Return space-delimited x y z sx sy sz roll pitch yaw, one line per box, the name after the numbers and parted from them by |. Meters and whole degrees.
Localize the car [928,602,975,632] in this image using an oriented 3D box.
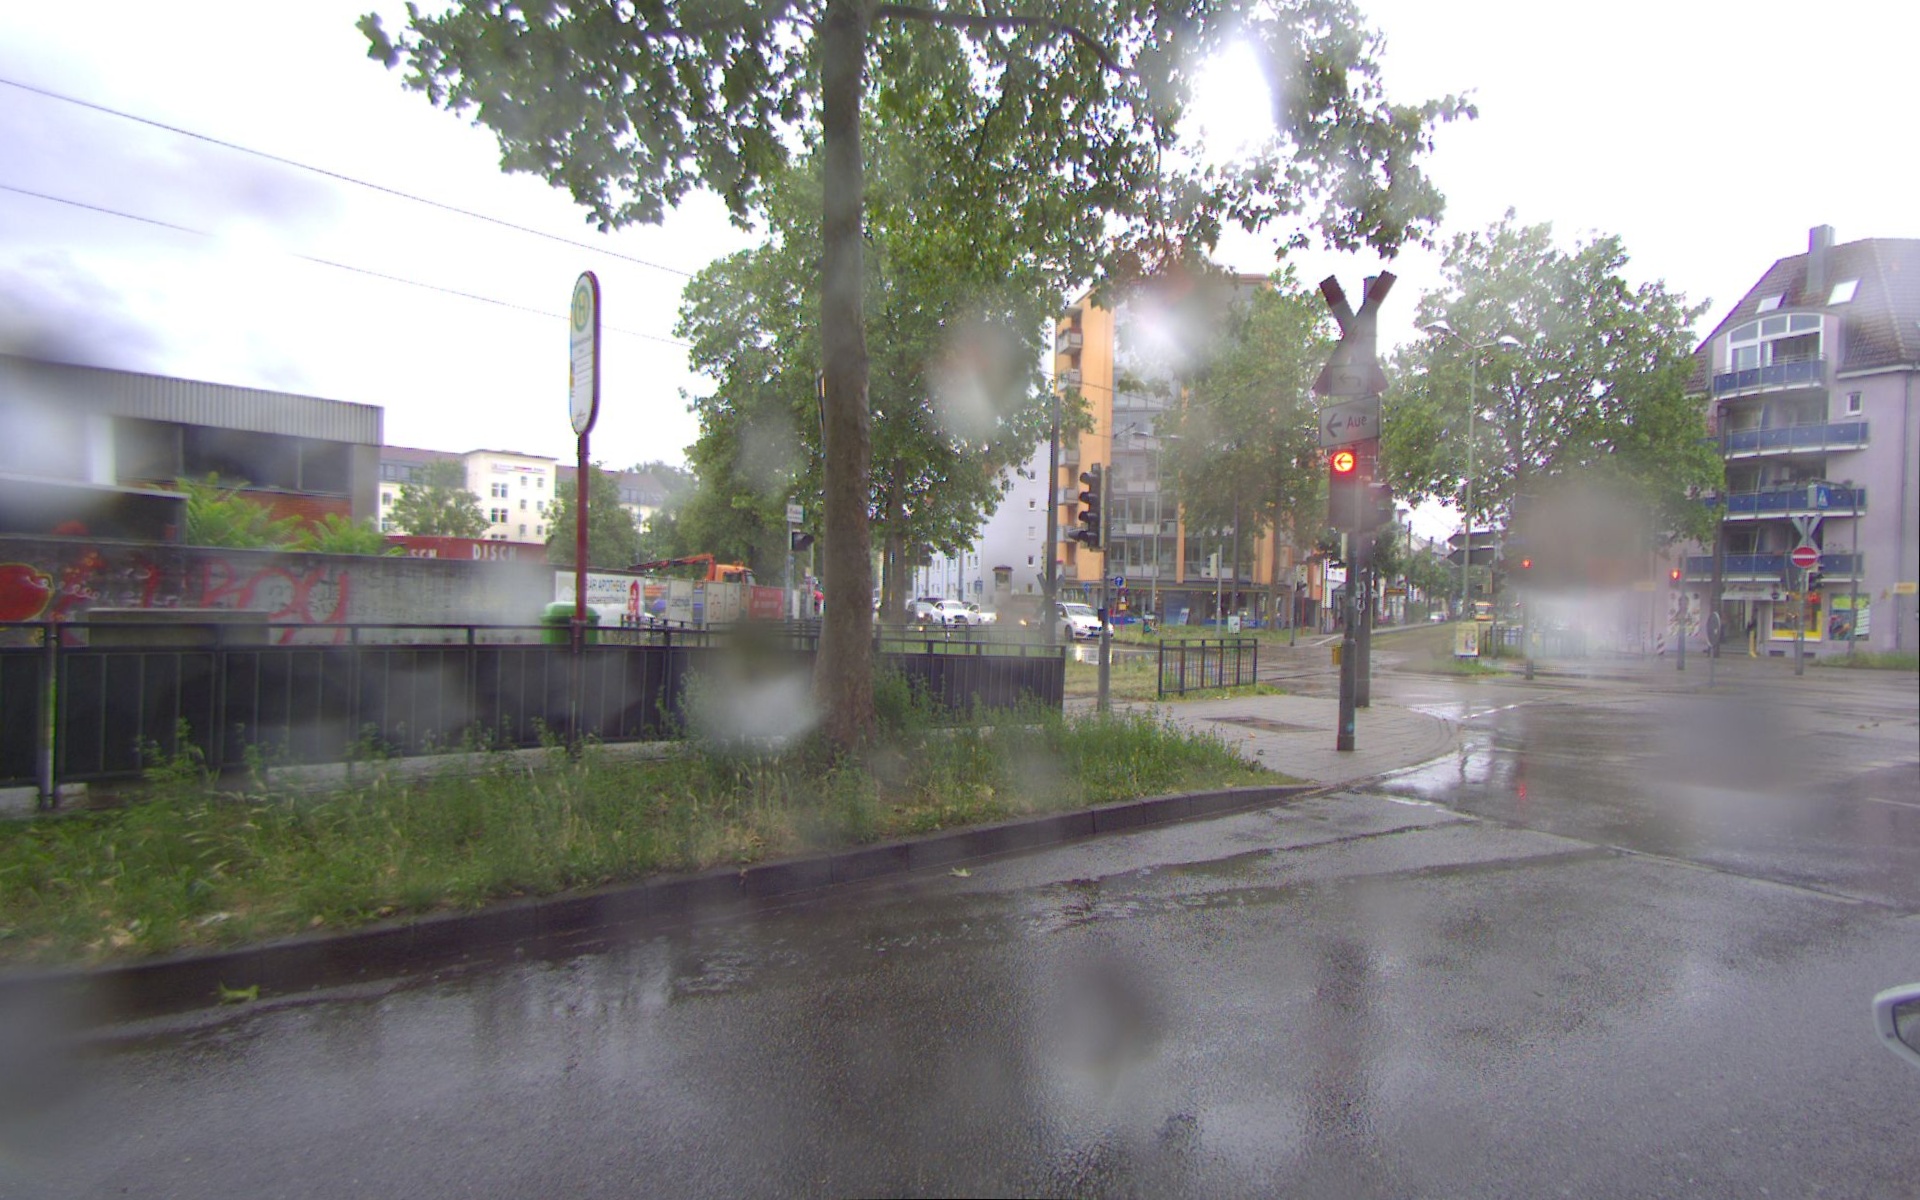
-0.542 0.981 58.360 1.697 1.661 3.780 1 -1 -17 | car

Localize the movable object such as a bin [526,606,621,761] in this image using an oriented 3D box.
-2.894 0.606 7.526 0.412 1.104 0.528 0 -1 44 | movable object such as a bin

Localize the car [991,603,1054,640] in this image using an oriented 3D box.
2.827 0.995 46.251 1.697 1.661 3.780 1 -1 -17 | car

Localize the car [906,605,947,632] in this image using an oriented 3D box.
-2.180 1.172 64.400 1.697 1.661 3.780 1 -1 -17 | car

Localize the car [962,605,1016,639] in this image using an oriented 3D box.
1.472 1.150 52.486 1.697 1.661 3.780 1 -1 -17 | car

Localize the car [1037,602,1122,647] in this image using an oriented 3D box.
4.726 0.983 40.339 1.941 1.673 4.004 1 -1 -17 | car
